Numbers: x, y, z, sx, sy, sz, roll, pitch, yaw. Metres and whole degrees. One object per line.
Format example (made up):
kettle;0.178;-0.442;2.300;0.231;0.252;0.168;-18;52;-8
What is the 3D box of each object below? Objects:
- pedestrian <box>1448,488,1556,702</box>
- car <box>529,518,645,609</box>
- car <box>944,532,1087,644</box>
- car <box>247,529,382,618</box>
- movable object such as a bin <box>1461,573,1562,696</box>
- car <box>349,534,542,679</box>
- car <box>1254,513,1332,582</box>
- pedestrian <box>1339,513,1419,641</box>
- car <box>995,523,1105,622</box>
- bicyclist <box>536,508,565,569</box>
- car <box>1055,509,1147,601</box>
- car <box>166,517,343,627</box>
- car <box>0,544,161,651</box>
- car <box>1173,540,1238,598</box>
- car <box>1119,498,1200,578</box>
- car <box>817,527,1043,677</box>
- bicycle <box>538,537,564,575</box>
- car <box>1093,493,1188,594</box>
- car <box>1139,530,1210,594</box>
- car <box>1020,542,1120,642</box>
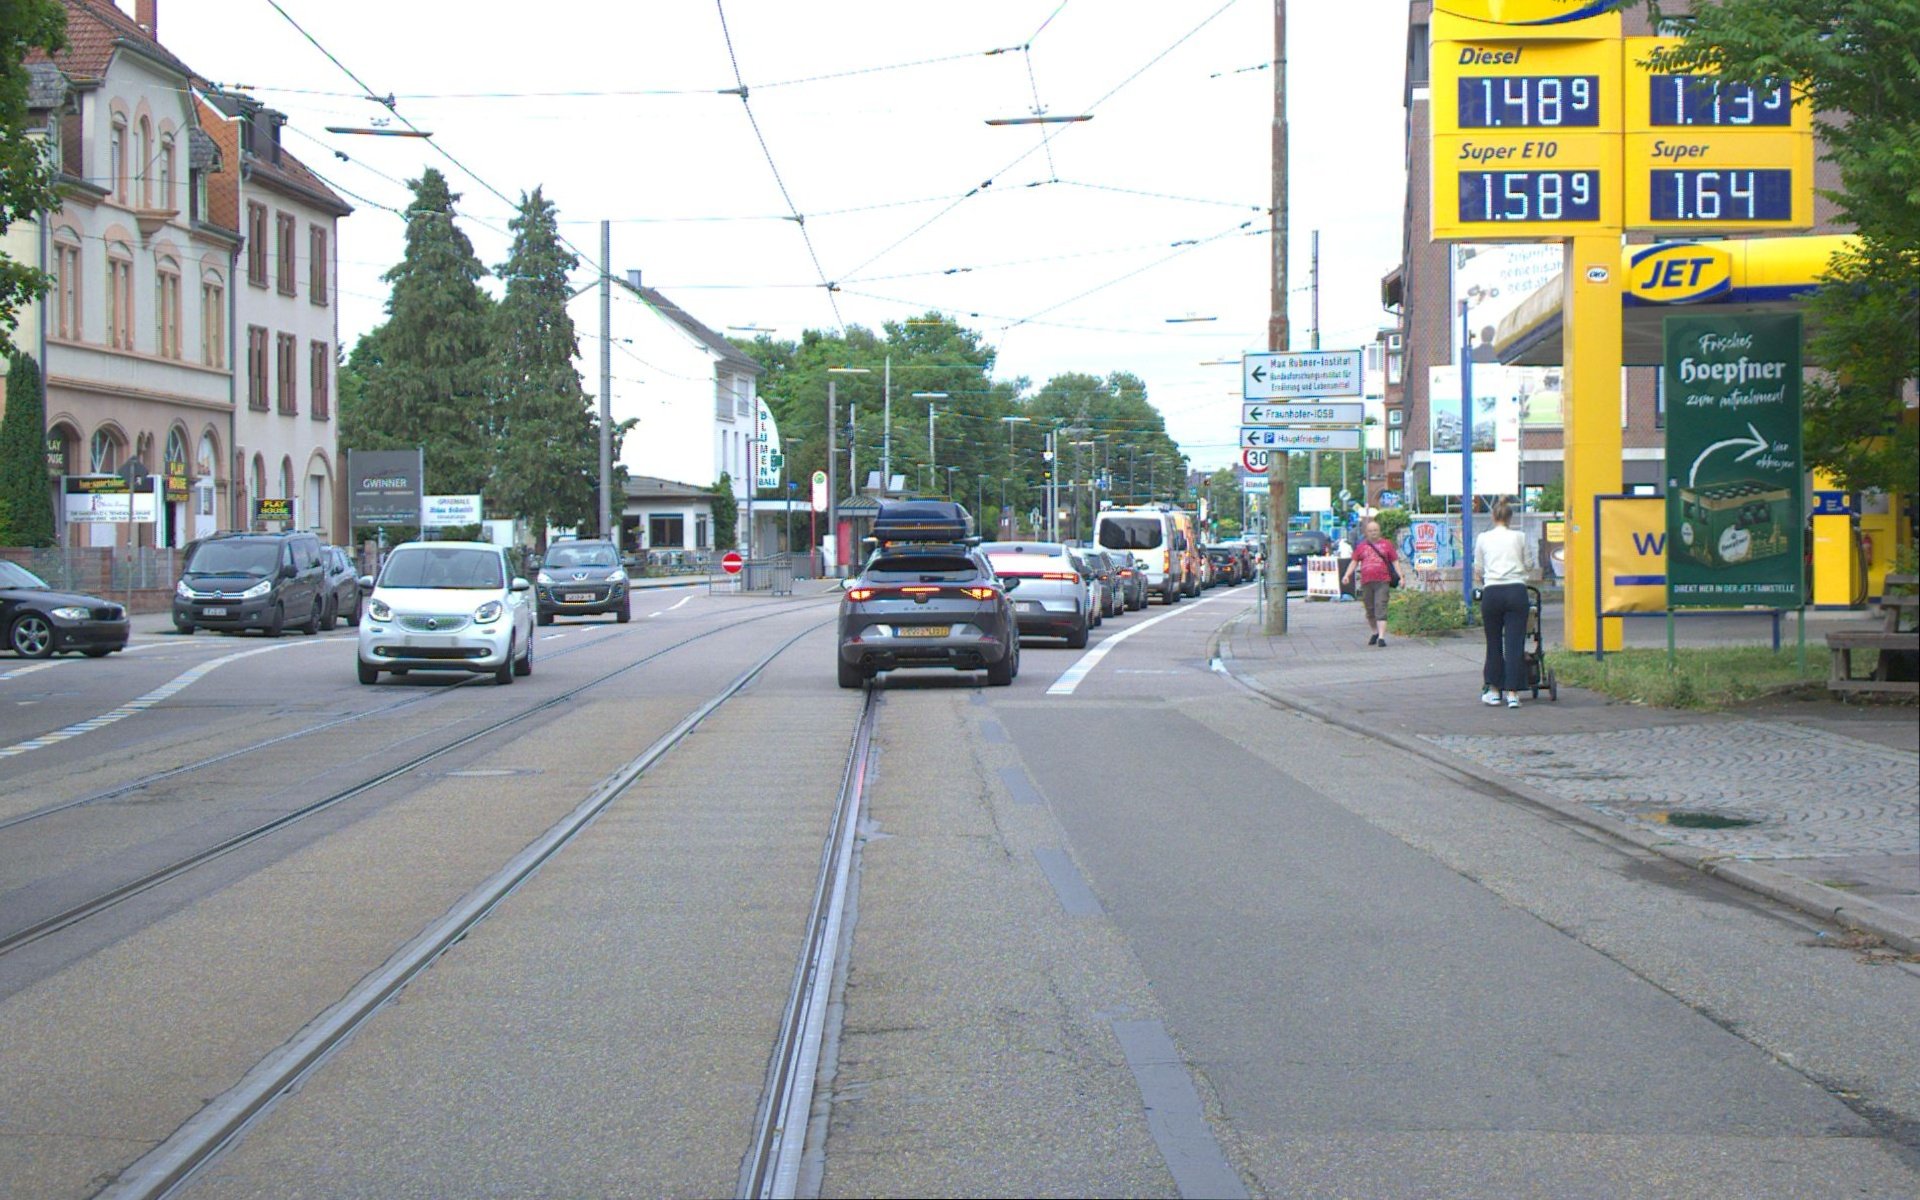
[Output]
pedestrian;4.694;-0.053;29.723;0.768;1.790;1.161;-2;0;14
car;-7.312;-0.723;67.780;1.827;1.731;4.335;0;1;0
car;0.782;-0.203;50.873;1.981;1.544;4.183;1;1;-1
car;-13.061;-0.542;69.806;1.844;1.712;4.193;1;0;1
movable object such as a bin;4.899;0.297;30.518;0.768;1.035;1.023;-2;0;14
car;-5.700;0.055;38.459;1.703;1.524;3.742;0;0;-2
car;9.125;-1.417;94.558;1.874;1.817;4.096;1;0;2
pedestrian;5.840;-0.315;47.945;0.972;1.732;0.861;-2;0;3
car;1.659;-0.509;64.296;1.969;1.750;3.838;1;0;1
bicyclist;-11.835;-1.764;99.319;0.735;1.743;0.979;-1;1;-11
car;3.234;-1.011;78.600;1.994;2.007;4.000;1;0;3
car;-12.851;-0.509;62.943;1.992;1.880;4.998;1;0;2
car;-13.000;-0.057;46.508;3.923;1.383;1.800;1;1;20
car;8.878;-1.127;124.577;1.993;2.007;4.000;1;0;-1
car;5.515;-1.703;95.638;2.139;2.138;4.743;1;0;3
car;-0.253;0.009;36.959;1.990;1.492;4.325;-1;0;5
bicycle;-11.823;-1.260;99.323;0.586;1.070;1.957;-1;1;-11
car;4.482;-1.392;86.125;2.216;2.415;4.951;1;0;2
car;6.983;-1.243;112.274;1.993;2.007;4.000;1;0;-1
car;2.308;-0.170;72.409;1.993;2.007;4.000;1;0;2
